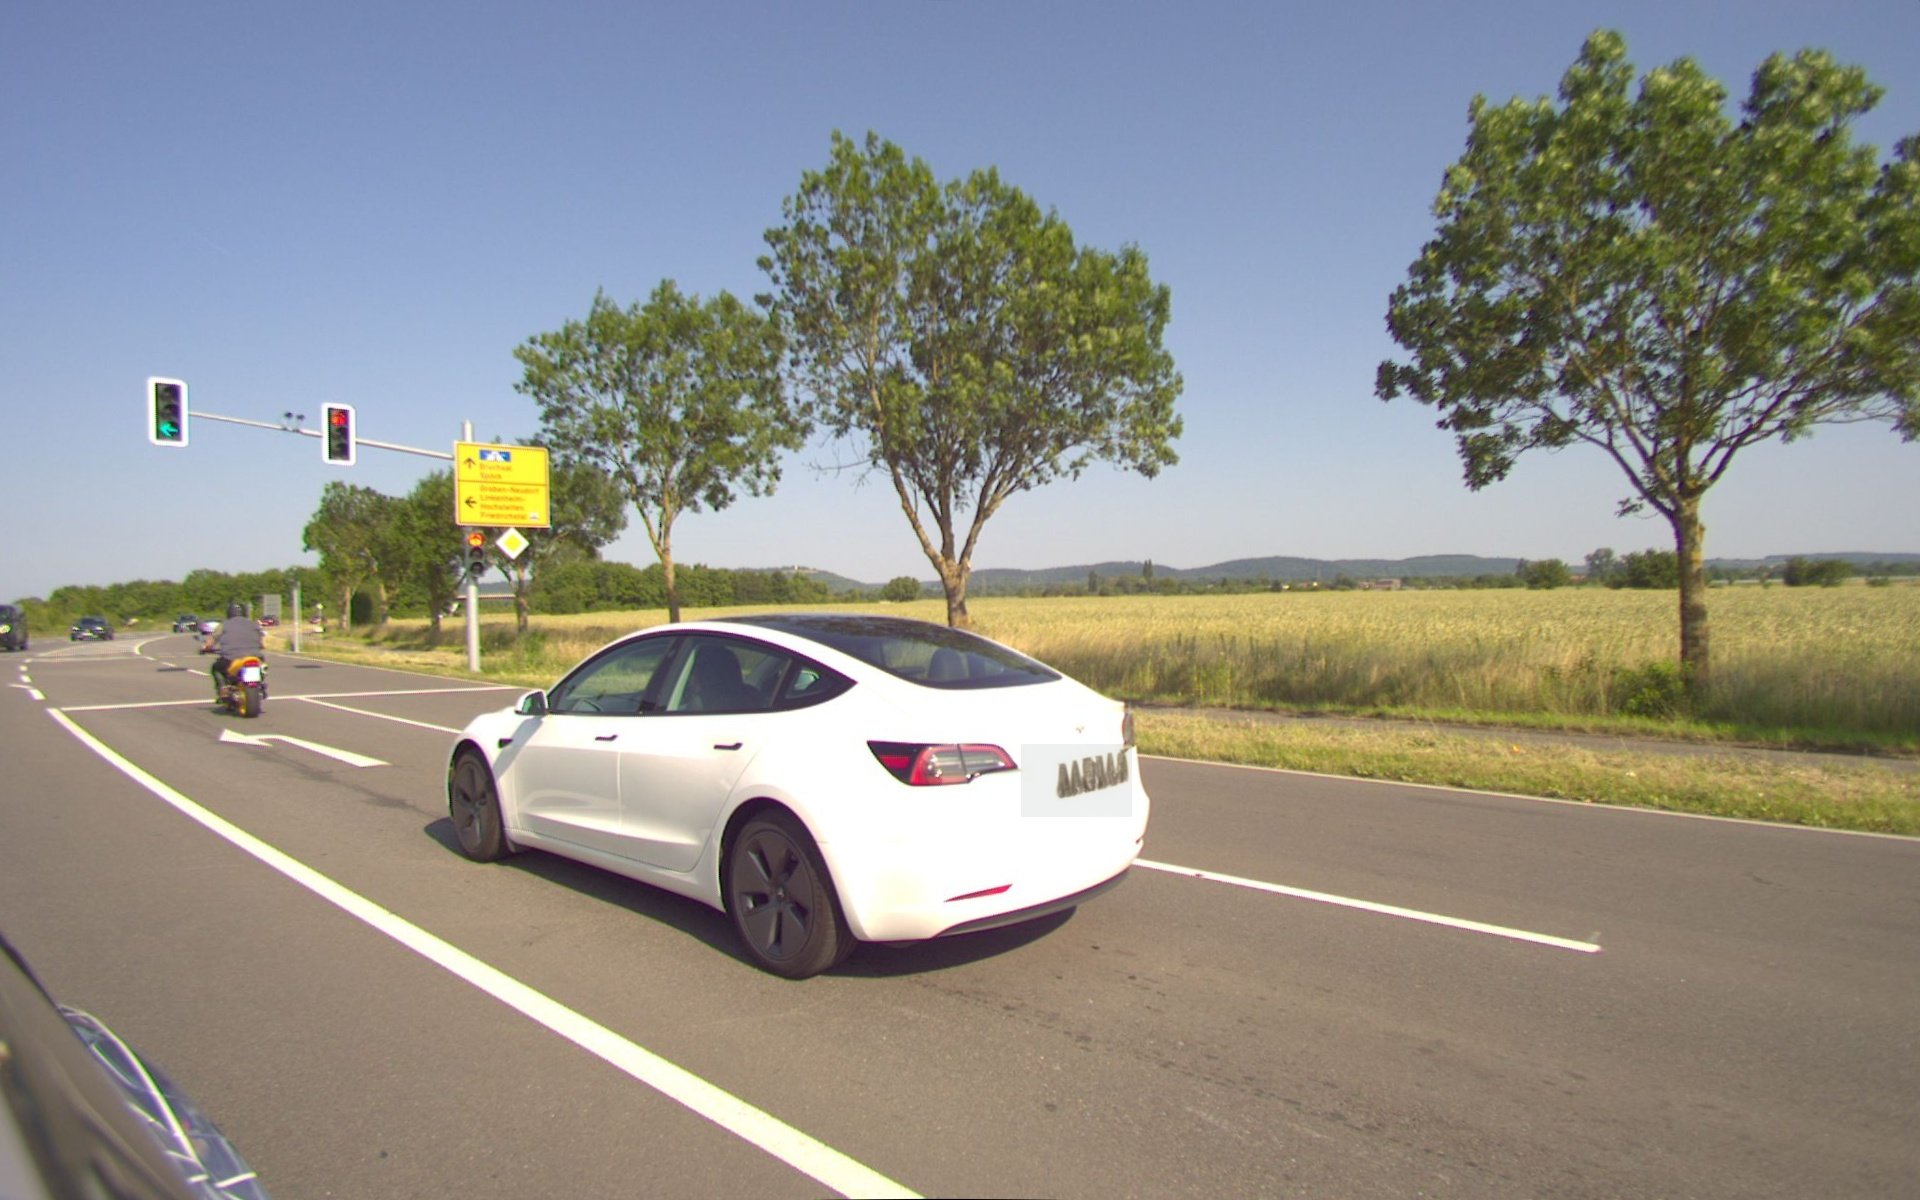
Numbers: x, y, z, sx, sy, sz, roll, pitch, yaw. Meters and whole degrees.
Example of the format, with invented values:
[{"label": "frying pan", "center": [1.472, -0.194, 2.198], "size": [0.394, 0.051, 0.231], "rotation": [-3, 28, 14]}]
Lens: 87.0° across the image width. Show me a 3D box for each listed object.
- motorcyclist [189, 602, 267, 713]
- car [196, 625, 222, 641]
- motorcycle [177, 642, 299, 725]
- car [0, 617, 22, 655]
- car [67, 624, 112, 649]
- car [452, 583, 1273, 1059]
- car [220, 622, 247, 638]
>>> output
[{"label": "motorcyclist", "center": [-10.597, 0.805, 14.646], "size": [1.181, 1.527, 0.672], "rotation": [-2, -1, 41]}, {"label": "car", "center": [-64.996, 2.853, 87.582], "size": [1.608, 1.387, 4.430], "rotation": [2, -2, -39]}, {"label": "motorcycle", "center": [-10.448, 1.160, 14.600], "size": [2.427, 1.051, 0.887], "rotation": [-2, -1, 41]}, {"label": "car", "center": [-40.871, 1.513, 42.675], "size": [1.834, 1.554, 4.005], "rotation": [0, -1, -42]}, {"label": "car", "center": [-57.486, 2.396, 66.899], "size": [1.832, 1.554, 4.010], "rotation": [0, -1, -34]}, {"label": "car", "center": [-0.798, 0.726, 5.284], "size": [4.274, 1.477, 1.870], "rotation": [-1, -2, 42]}, {"label": "car", "center": [-76.667, 3.175, 106.794], "size": [1.858, 1.638, 4.012], "rotation": [2, -2, -30]}]
